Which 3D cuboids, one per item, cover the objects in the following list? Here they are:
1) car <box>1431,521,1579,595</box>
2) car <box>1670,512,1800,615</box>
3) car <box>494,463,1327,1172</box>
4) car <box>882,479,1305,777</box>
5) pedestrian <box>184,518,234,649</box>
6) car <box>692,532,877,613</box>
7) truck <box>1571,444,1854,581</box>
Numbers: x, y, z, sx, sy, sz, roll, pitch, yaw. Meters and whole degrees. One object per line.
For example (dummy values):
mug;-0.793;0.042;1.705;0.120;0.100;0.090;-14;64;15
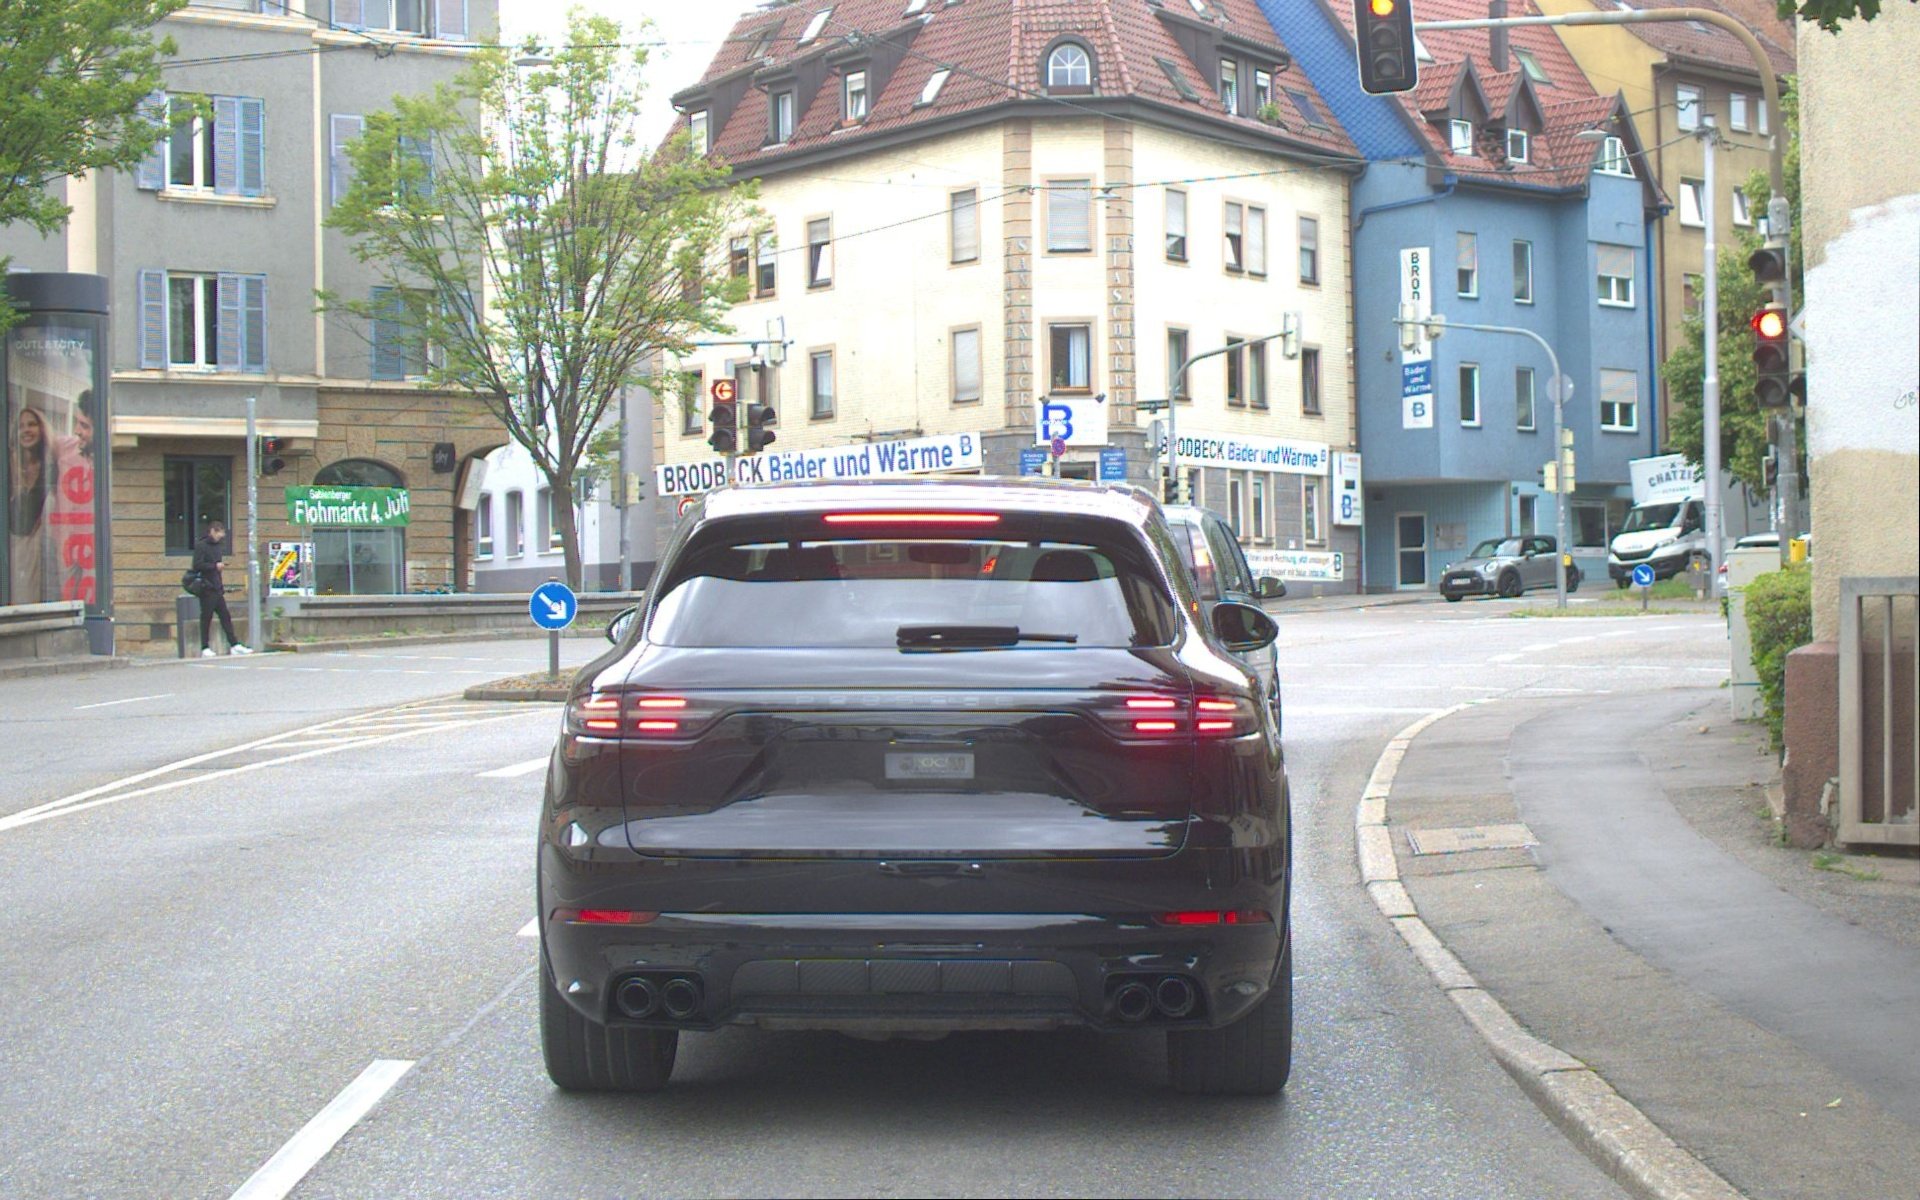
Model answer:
car;12.680;-0.982;79.796;1.997;1.678;3.993;0;1;32
car;13.168;-0.627;58.585;1.994;1.678;3.998;0;1;10
car;-0.165;0.459;10.205;1.978;1.678;4.001;0;2;-1
car;0.945;0.128;21.537;1.994;1.678;3.998;0;1;12
pedestrian;-10.023;-0.223;45.879;0.513;1.724;0.451;2;1;4
car;-3.748;-0.578;72.926;1.994;1.678;3.999;0;0;-37
truck;19.352;-2.186;88.019;2.880;3.328;8.771;2;2;43
